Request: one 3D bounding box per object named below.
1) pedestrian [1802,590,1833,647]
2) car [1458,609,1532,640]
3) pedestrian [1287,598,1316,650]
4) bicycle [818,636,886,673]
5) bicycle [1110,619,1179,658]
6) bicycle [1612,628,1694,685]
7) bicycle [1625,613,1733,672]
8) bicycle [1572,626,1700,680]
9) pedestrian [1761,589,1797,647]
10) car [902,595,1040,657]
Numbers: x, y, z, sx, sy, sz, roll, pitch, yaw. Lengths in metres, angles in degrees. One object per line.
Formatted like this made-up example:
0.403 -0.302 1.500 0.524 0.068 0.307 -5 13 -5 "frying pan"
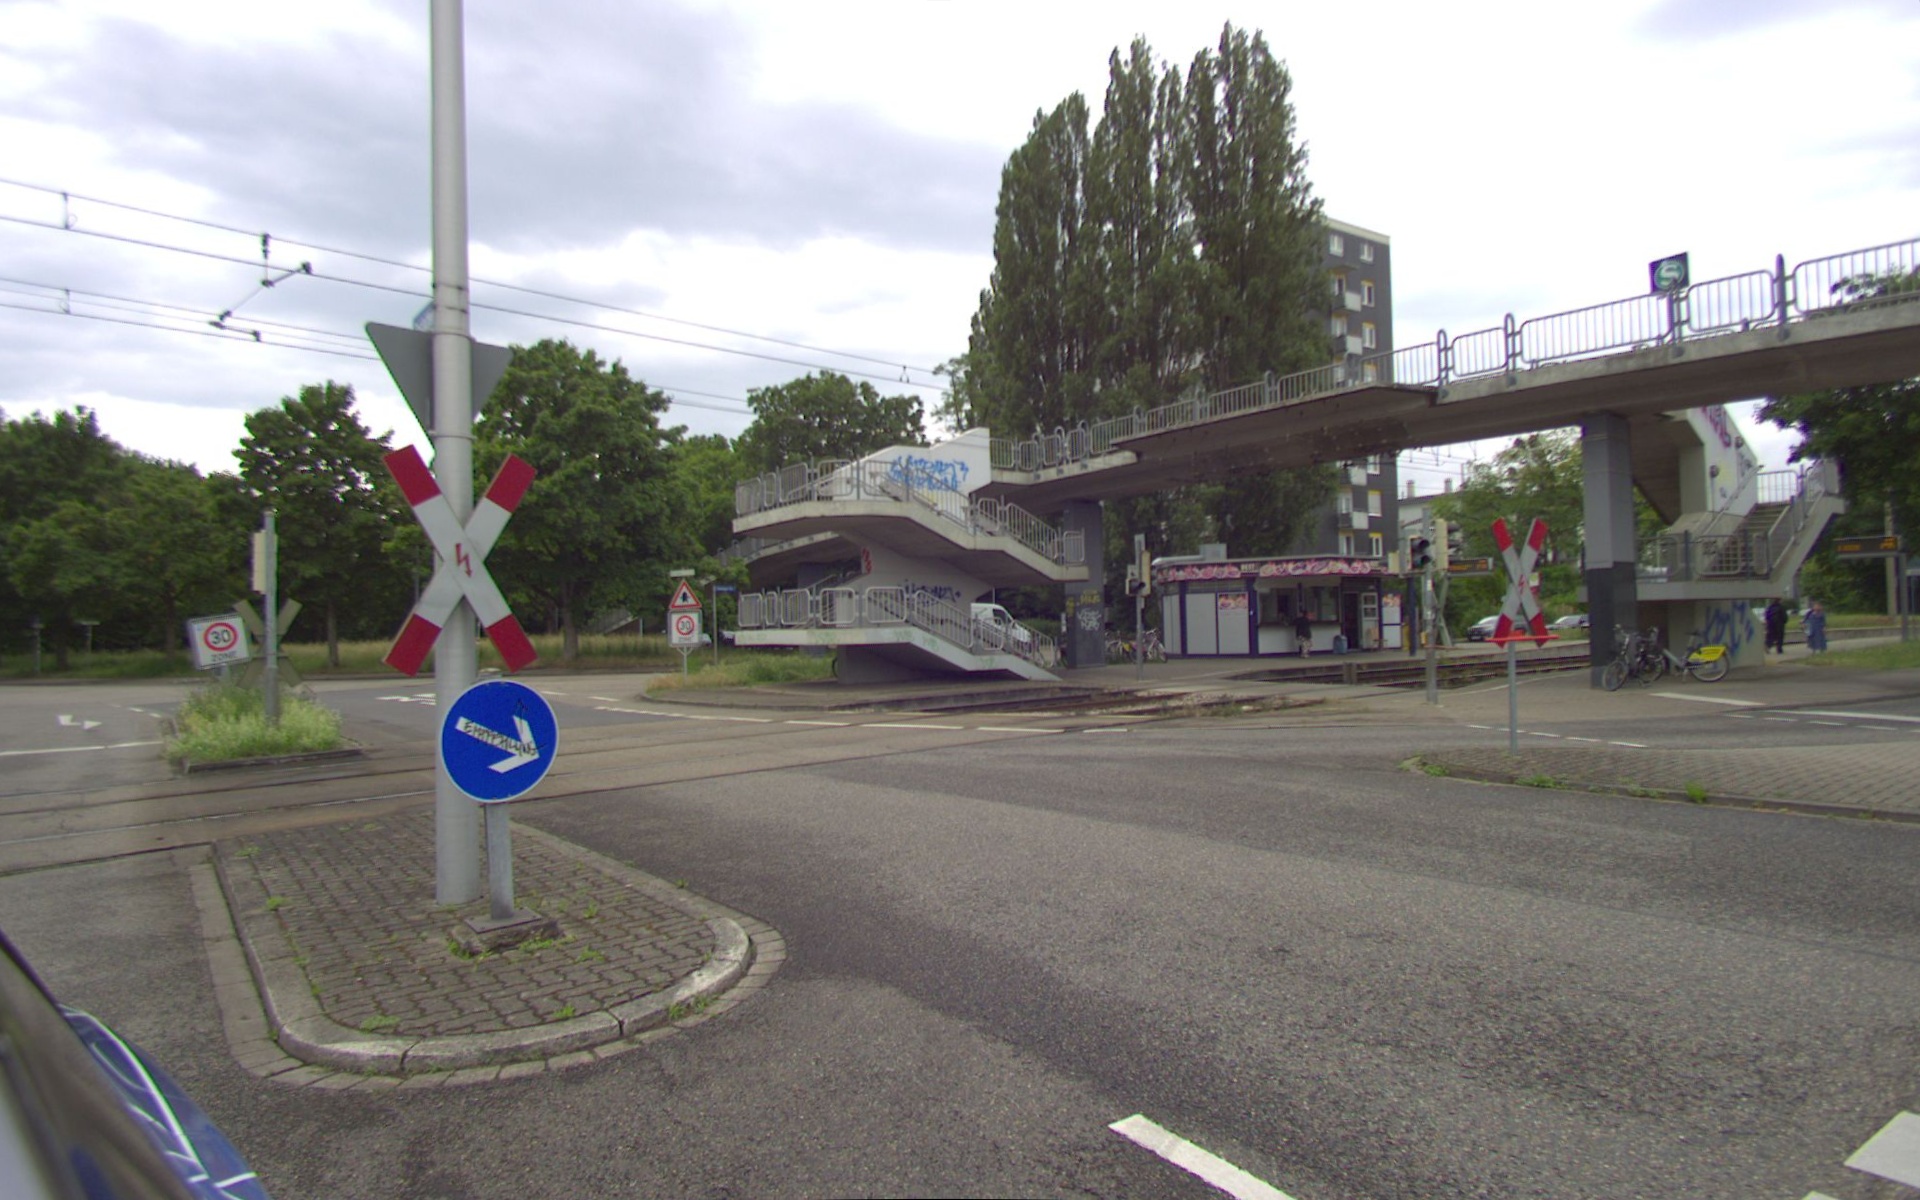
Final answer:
23.970 0.529 28.298 0.329 1.576 0.561 0 -2 -40 "pedestrian"
28.994 1.317 54.810 3.932 1.572 1.673 -1 -1 -31 "car"
11.155 0.789 33.080 0.675 1.677 0.543 -1 -2 -35 "pedestrian"
-2.839 1.418 26.539 1.713 0.892 0.396 -1 -1 -17 "bicycle"
5.863 1.207 32.034 0.991 1.123 2.754 -3 -2 37 "bicycle"
12.586 1.003 18.357 2.003 0.928 0.375 -1 -1 -30 "bicycle"
13.762 0.810 19.410 1.605 1.103 0.348 -2 -1 23 "bicycle"
12.353 0.948 18.491 2.365 0.895 0.559 -1 -1 -17 "bicycle"
23.485 0.514 29.022 0.652 1.655 0.603 -1 -2 -36 "pedestrian"
0.473 1.027 39.897 5.121 2.310 2.146 1 -3 -35 "car"
